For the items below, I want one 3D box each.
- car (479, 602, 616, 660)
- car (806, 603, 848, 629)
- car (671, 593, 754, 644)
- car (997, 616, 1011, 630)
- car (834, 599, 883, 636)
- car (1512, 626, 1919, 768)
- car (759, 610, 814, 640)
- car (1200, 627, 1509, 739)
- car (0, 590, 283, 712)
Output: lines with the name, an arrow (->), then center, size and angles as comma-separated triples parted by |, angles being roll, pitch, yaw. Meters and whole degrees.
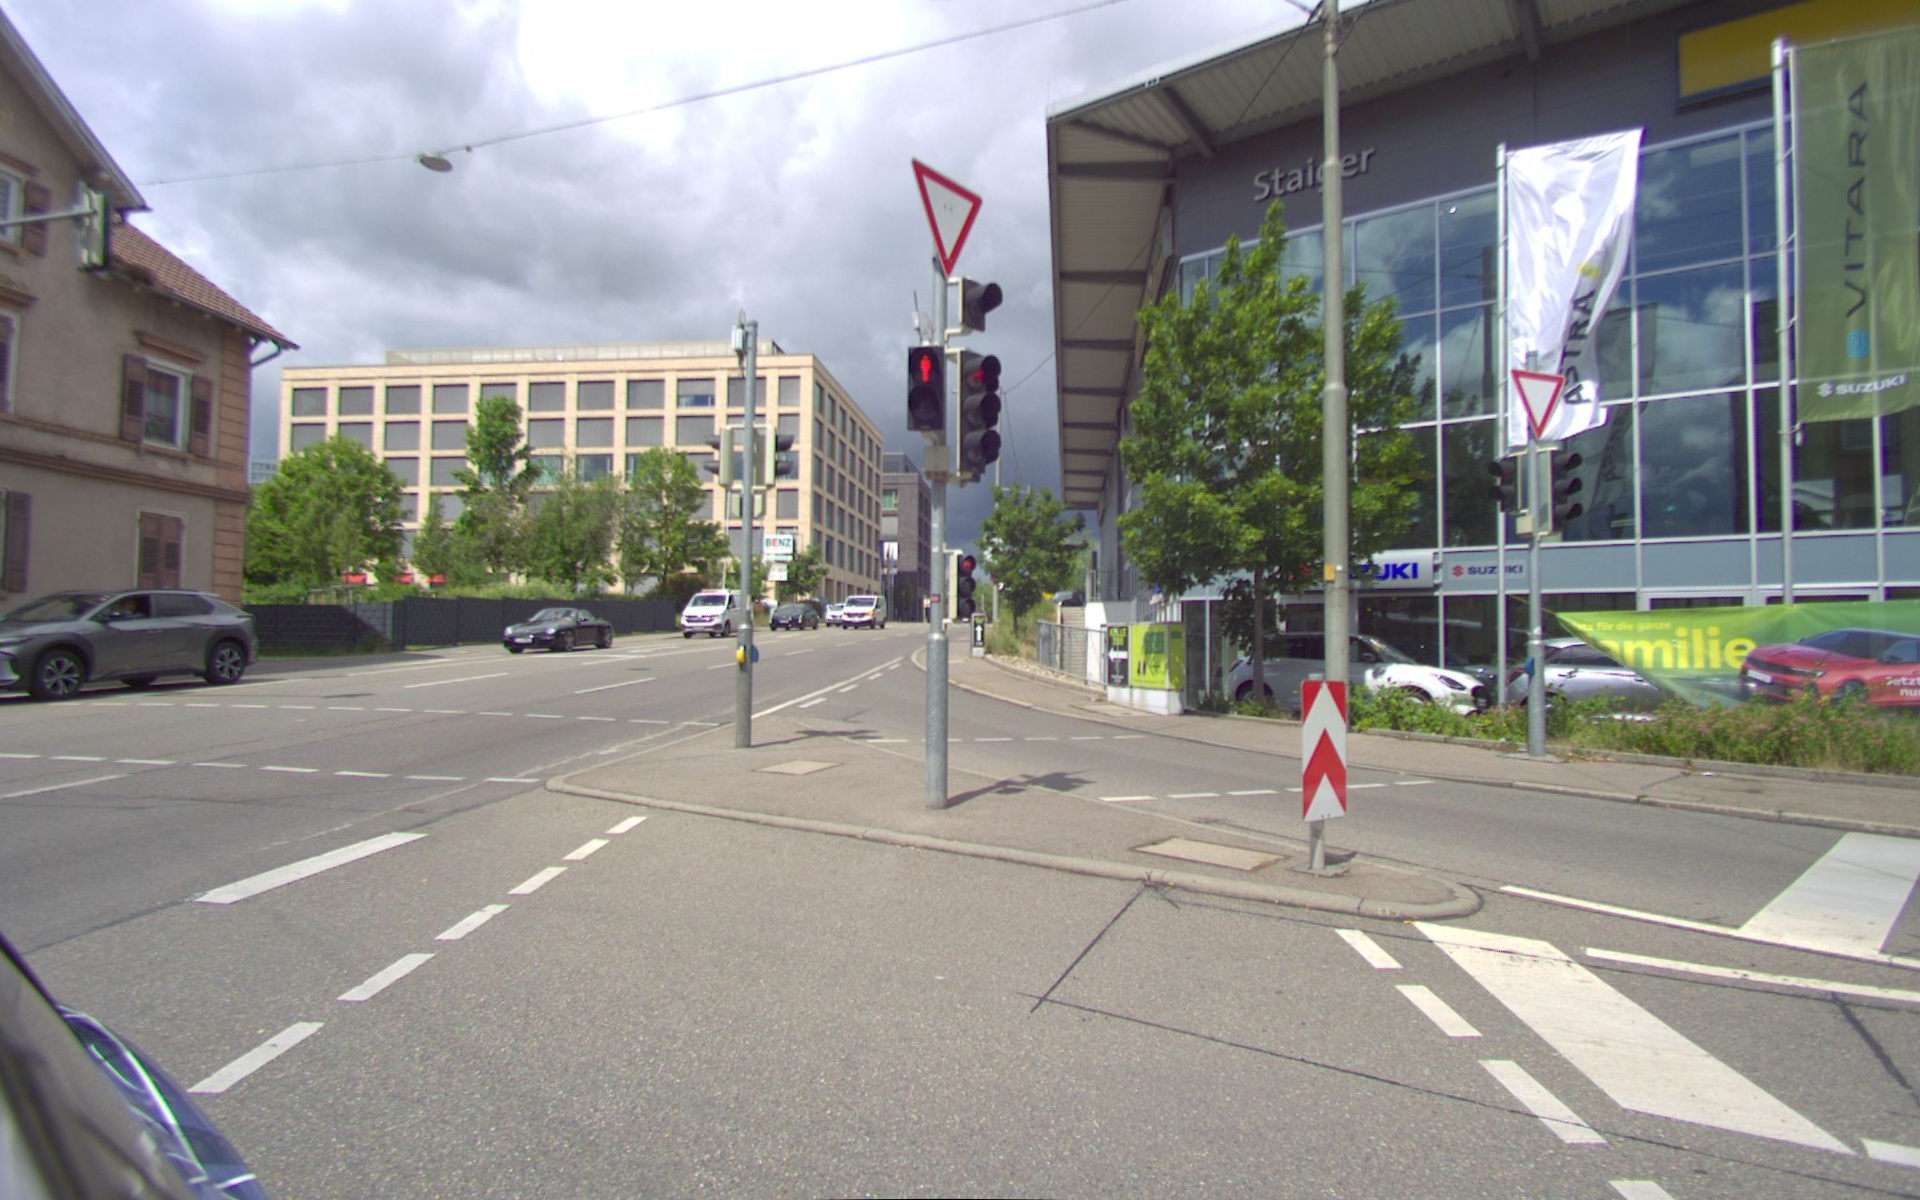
car -> -11.931, 0.853, 29.607 | 1.975, 1.477, 4.325 | -1, 1, 5
car -> -8.919, 1.048, 68.101 | 1.975, 1.545, 4.325 | -1, 1, 5
car -> -10.578, 0.736, 43.673 | 1.975, 2.026, 4.808 | -1, 1, 6
car -> 6.487, 3.316, 148.543 | 1.975, 1.888, 4.983 | -1, 1, 5
car -> -5.801, 0.986, 58.592 | 1.975, 2.008, 4.983 | -1, 1, 5
car -> 10.056, 1.188, 13.786 | 4.295, 1.574, 1.926 | 0, 0, 34
car -> -9.563, 1.345, 56.013 | 1.975, 1.477, 4.325 | -1, 1, 5
car -> 6.298, 1.228, 16.403 | 4.303, 1.485, 1.923 | 0, 0, 40
car -> -13.302, 0.693, 15.670 | 1.975, 1.590, 5.091 | -1, -1, 5
